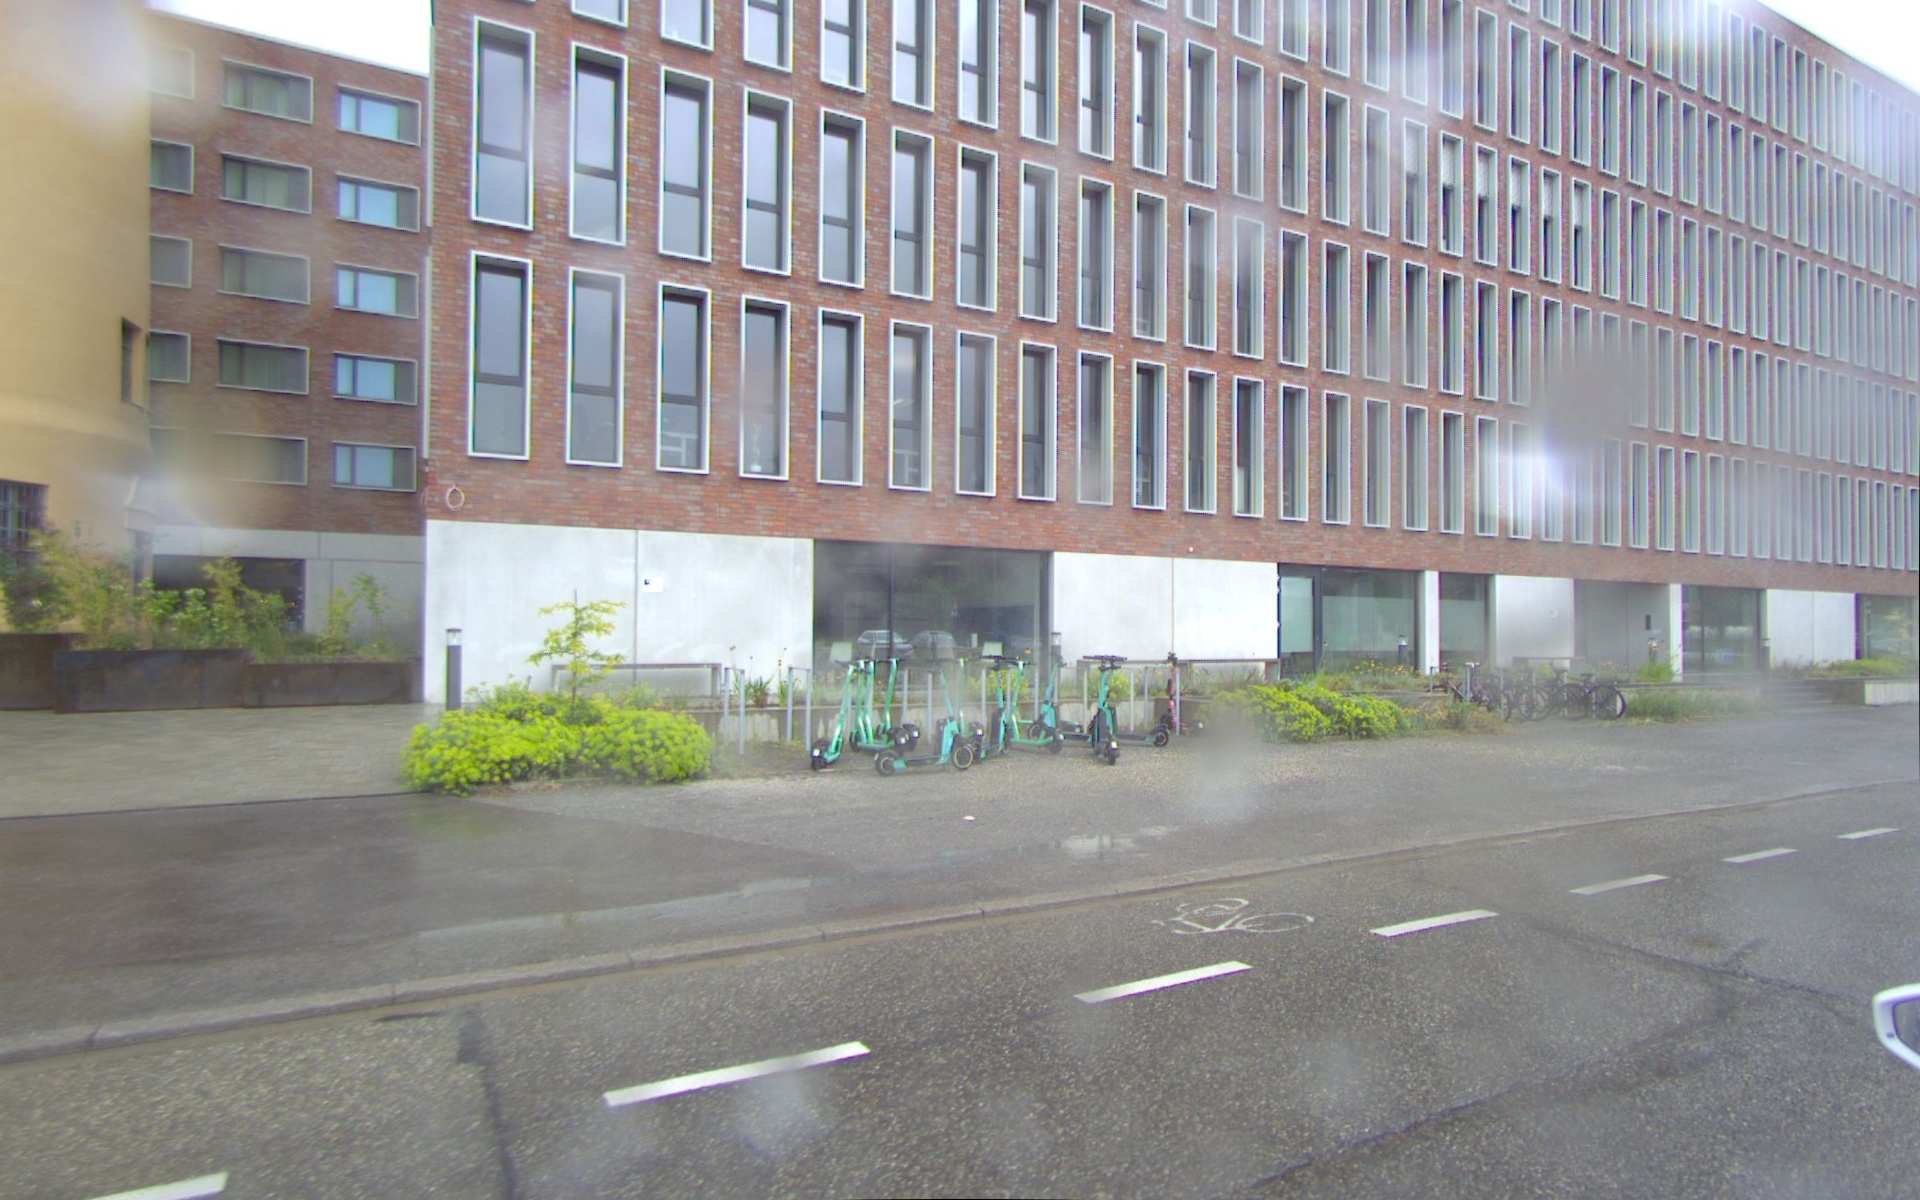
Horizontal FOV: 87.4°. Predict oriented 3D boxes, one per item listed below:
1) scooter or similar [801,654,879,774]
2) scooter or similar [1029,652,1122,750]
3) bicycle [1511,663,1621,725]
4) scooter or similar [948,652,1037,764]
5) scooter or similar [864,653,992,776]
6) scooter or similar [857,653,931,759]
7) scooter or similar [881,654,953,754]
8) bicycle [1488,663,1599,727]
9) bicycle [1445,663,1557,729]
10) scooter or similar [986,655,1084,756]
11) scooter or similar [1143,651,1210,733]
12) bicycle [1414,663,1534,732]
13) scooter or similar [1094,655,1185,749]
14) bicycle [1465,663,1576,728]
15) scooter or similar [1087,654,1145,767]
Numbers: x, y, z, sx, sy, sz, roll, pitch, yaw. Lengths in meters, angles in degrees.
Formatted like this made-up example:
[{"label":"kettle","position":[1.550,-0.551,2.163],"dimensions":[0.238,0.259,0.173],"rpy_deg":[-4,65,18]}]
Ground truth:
[{"label":"scooter or similar","position":[-1.311,1.225,11.164],"dimensions":[0.498,1.246,1.322],"rpy_deg":[0,-3,9]},{"label":"scooter or similar","position":[1.552,1.334,13.439],"dimensions":[1.183,1.246,0.468],"rpy_deg":[0,-3,13]},{"label":"bicycle","position":[12.215,1.872,20.318],"dimensions":[0.538,1.091,1.850],"rpy_deg":[3,-1,-30]},{"label":"scooter or similar","position":[0.407,1.256,11.972],"dimensions":[0.459,1.246,1.318],"rpy_deg":[-1,-3,31]},{"label":"scooter or similar","position":[-0.332,1.202,10.775],"dimensions":[1.307,1.246,0.463],"rpy_deg":[3,-3,-33]},{"label":"scooter or similar","position":[-0.817,1.254,12.200],"dimensions":[0.461,1.193,1.313],"rpy_deg":[2,-3,-23]},{"label":"scooter or similar","position":[-0.568,1.302,12.863],"dimensions":[0.461,1.193,1.313],"rpy_deg":[2,-3,-23]},{"label":"bicycle","position":[11.521,1.858,19.893],"dimensions":[0.538,1.091,1.850],"rpy_deg":[3,-1,-30]},{"label":"bicycle","position":[10.291,1.802,19.159],"dimensions":[0.538,1.091,1.850],"rpy_deg":[3,-1,-30]},{"label":"scooter or similar","position":[0.941,1.317,12.837],"dimensions":[0.464,1.193,1.305],"rpy_deg":[3,-3,-41]},{"label":"scooter or similar","position":[3.370,1.415,15.714],"dimensions":[0.411,1.224,1.224],"rpy_deg":[2,-3,-22]},{"label":"bicycle","position":[9.529,1.779,18.692],"dimensions":[0.613,1.091,1.939],"rpy_deg":[3,-1,-30]},{"label":"scooter or similar","position":[2.438,1.368,13.633],"dimensions":[1.183,1.224,0.468],"rpy_deg":[0,-3,13]},{"label":"bicycle","position":[10.829,1.818,19.472],"dimensions":[0.538,1.091,1.850],"rpy_deg":[3,-1,-30]},{"label":"scooter or similar","position":[1.832,1.272,11.913],"dimensions":[0.458,1.246,1.321],"rpy_deg":[1,-3,0]}]
